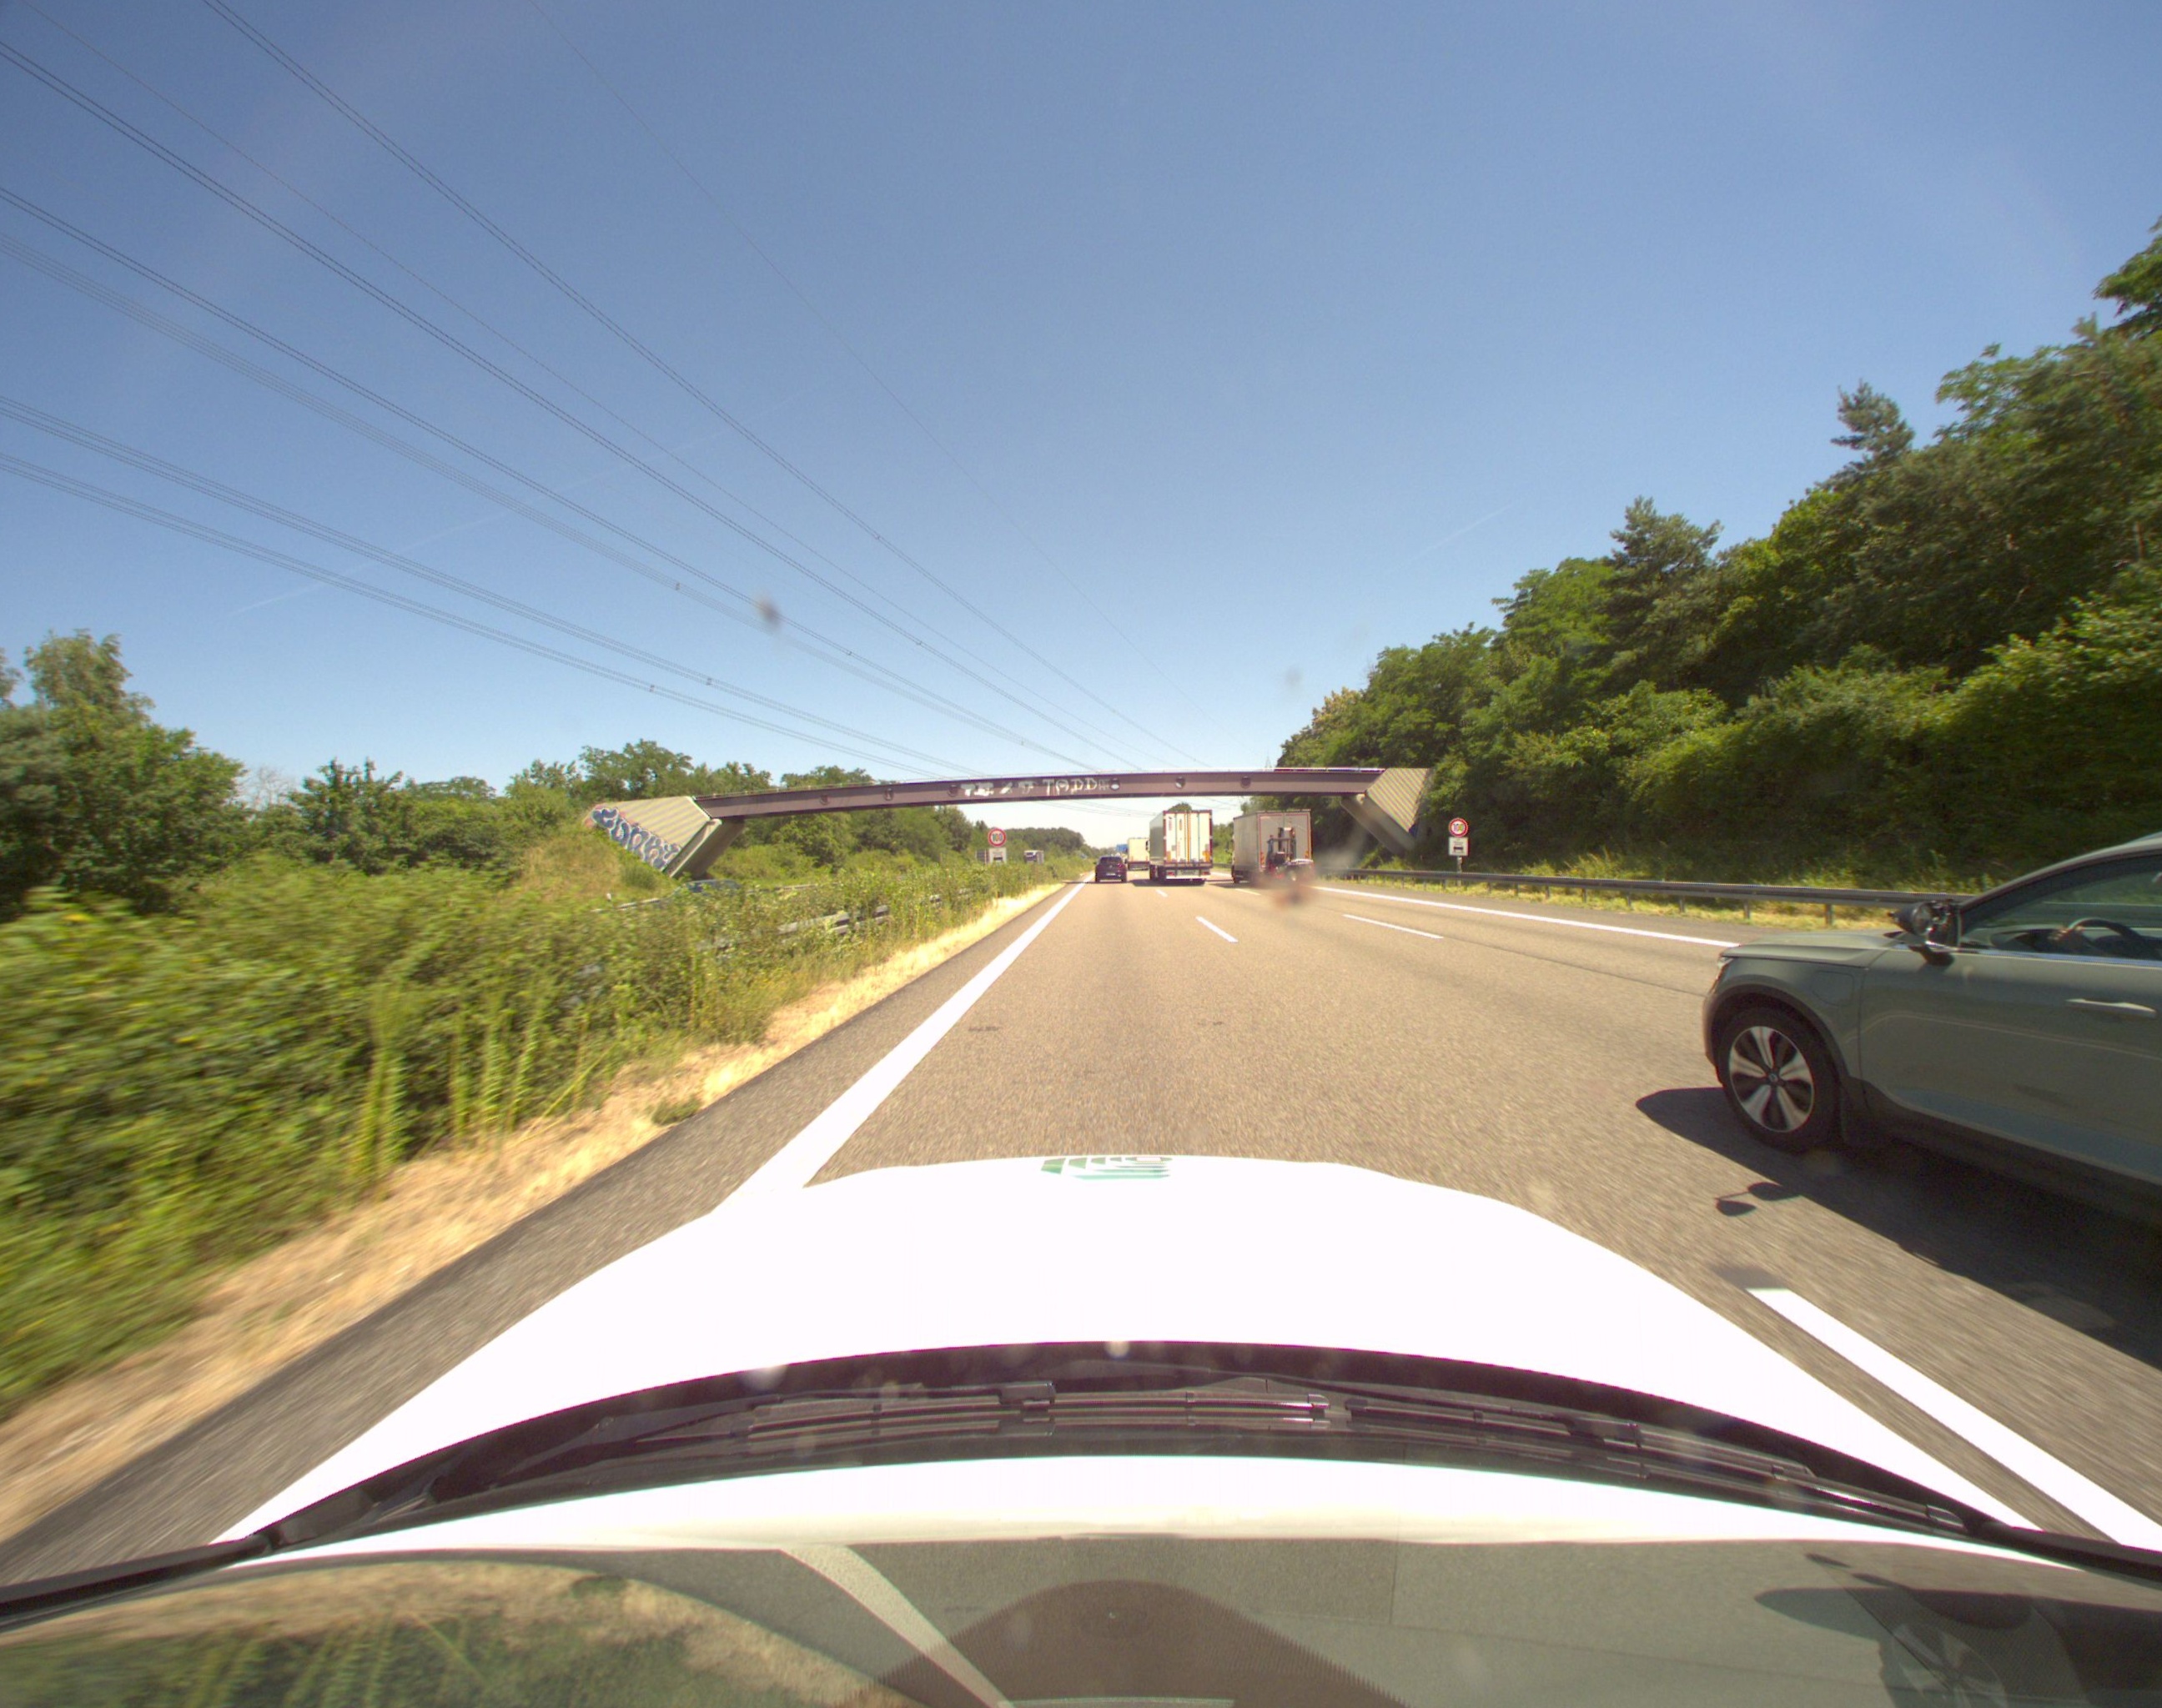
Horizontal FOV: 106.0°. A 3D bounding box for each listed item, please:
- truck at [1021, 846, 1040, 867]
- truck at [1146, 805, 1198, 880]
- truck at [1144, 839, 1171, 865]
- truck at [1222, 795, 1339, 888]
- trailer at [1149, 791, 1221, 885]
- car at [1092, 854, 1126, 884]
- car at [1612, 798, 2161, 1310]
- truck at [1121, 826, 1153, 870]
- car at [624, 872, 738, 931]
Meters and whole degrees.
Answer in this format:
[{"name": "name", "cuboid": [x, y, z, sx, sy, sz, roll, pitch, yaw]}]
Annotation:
[{"name": "truck", "cuboid": [-10.627, 0.580, 172.841, 2.747, 4.121, 10.222, -3, -1, 3]}, {"name": "truck", "cuboid": [6.197, -0.689, 56.384, 3.075, 4.885, 6.599, 0, -1, 2]}, {"name": "truck", "cuboid": [13.773, -0.324, 147.535, 3.501, 4.492, 13.245, -1, 0, -1]}, {"name": "truck", "cuboid": [10.044, -0.511, 42.711, 3.557, 4.245, 11.655, 0, -1, 2]}, {"name": "trailer", "cuboid": [5.939, -0.765, 48.576, 3.075, 4.885, 12.262, 0, -1, 2]}, {"name": "car", "cuboid": [1.739, 0.891, 51.287, 1.987, 1.772, 4.000, -2, 0, 0]}, {"name": "car", "cuboid": [4.356, 0.628, 2.987, 1.872, 1.612, 4.704, 0, 0, 2]}, {"name": "truck", "cuboid": [6.943, -0.693, 102.665, 3.499, 5.166, 10.262, -1, 0, 2]}, {"name": "car", "cuboid": [-12.430, 1.425, 25.568, 1.696, 1.533, 3.618, -3, 0, 0]}]
